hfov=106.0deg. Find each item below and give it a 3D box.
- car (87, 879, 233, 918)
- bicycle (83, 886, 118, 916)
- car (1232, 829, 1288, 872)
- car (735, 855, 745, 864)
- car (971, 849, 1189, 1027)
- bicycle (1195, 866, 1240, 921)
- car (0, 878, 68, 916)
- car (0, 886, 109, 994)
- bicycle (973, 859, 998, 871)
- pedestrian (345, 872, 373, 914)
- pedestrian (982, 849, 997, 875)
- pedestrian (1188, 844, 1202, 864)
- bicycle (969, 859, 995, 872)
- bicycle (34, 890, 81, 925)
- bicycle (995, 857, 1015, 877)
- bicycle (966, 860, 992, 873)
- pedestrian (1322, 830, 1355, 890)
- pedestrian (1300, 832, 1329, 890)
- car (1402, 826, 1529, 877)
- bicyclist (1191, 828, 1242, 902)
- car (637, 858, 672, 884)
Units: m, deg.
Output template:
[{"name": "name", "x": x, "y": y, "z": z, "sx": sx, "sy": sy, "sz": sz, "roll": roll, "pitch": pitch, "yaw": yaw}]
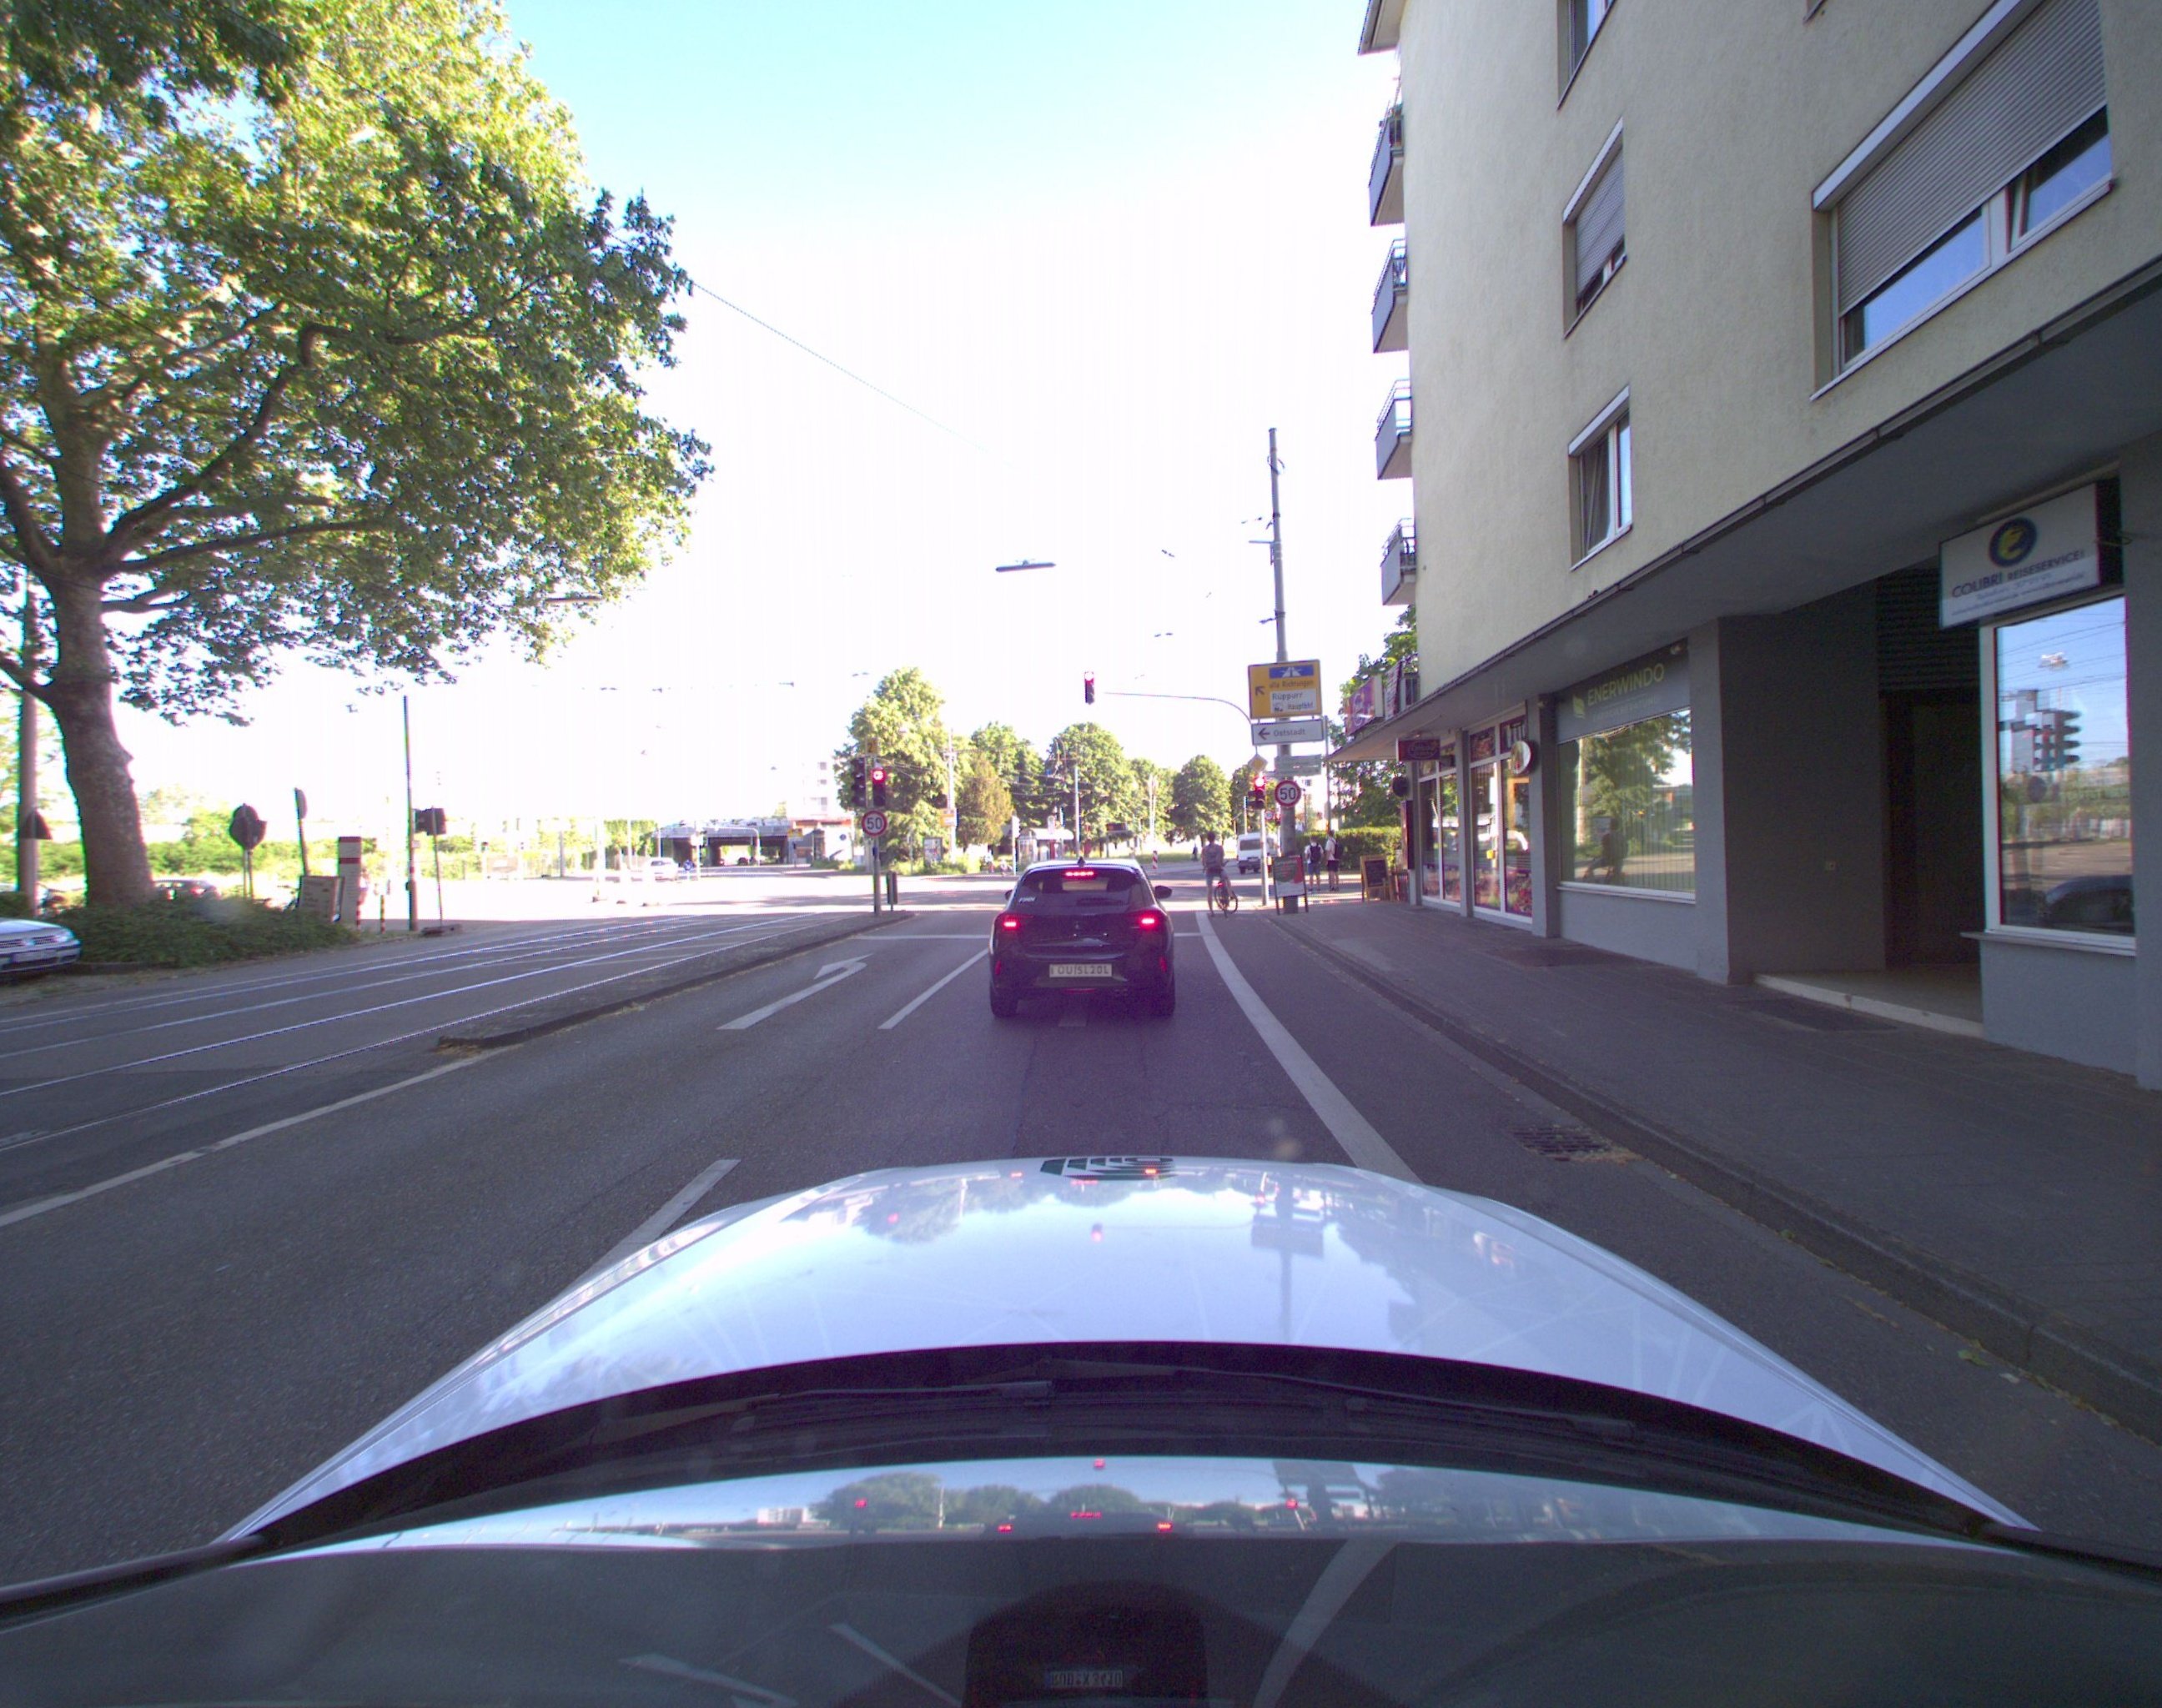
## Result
[{"name": "car", "x": -43.131, "y": 2.055, "z": 38.270, "sx": 4.006, "sy": 1.419, "sz": 1.880, "roll": -1, "pitch": 6, "yaw": -25}, {"name": "bicycle", "x": -26.280, "y": 1.253, "z": 21.822, "sx": 1.757, "sy": 0.759, "sz": 0.360, "roll": -1, "pitch": 0, "yaw": 32}, {"name": "car", "x": 10.143, "y": -0.175, "z": 45.934, "sx": 2.070, "sy": 2.277, "sz": 4.331, "roll": -1, "pitch": -1, "yaw": 26}, {"name": "car", "x": -77.404, "y": 1.336, "z": 184.616, "sx": 2.003, "sy": 2.014, "sz": 3.967, "roll": 0, "pitch": -1, "yaw": -25}, {"name": "car", "x": 0.105, "y": 0.697, "z": 8.819, "sx": 1.793, "sy": 1.441, "sz": 3.943, "roll": -2, "pitch": 0, "yaw": 3}, {"name": "bicycle", "x": 2.918, "y": 0.820, "z": 17.570, "sx": 0.665, "sy": 1.059, "sz": 2.083, "roll": -2, "pitch": 0, "yaw": 2}, {"name": "car", "x": -48.399, "y": 1.930, "z": 36.006, "sx": 4.006, "sy": 1.419, "sz": 1.880, "roll": -1, "pitch": 6, "yaw": -25}, {"name": "car", "x": -16.671, "y": 1.204, "z": 11.326, "sx": 3.980, "sy": 1.417, "sz": 1.701, "roll": 0, "pitch": -1, "yaw": -5}, {"name": "bicycle", "x": -7.748, "y": 0.927, "z": 66.037, "sx": 1.866, "sy": 0.906, "sz": 0.661, "roll": -2, "pitch": 0, "yaw": 8}, {"name": "pedestrian", "x": -27.697, "y": 1.480, "z": 31.235, "sx": 0.602, "sy": 1.596, "sz": 0.679, "roll": 0, "pitch": -1, "yaw": -24}, {"name": "pedestrian", "x": -6.023, "y": 0.523, "z": 53.859, "sx": 0.720, "sy": 1.693, "sz": 0.703, "roll": -2, "pitch": 0, "yaw": 15}, {"name": "pedestrian", "x": 10.621, "y": -0.035, "z": 75.701, "sx": 0.949, "sy": 1.793, "sz": 1.002, "roll": -2, "pitch": 0, "yaw": 27}, {"name": "bicycle", "x": -7.925, "y": 0.921, "z": 65.170, "sx": 1.866, "sy": 0.906, "sz": 0.661, "roll": -2, "pitch": 0, "yaw": 8}, {"name": "bicycle", "x": -25.048, "y": 1.289, "z": 19.944, "sx": 0.360, "sy": 0.759, "sz": 1.759, "roll": -2, "pitch": 0, "yaw": -40}, {"name": "bicycle", "x": -4.364, "y": 0.749, "z": 46.881, "sx": 0.821, "sy": 1.059, "sz": 1.885, "roll": -2, "pitch": 0, "yaw": 4}, {"name": "bicycle", "x": -8.051, "y": 0.974, "z": 64.187, "sx": 1.866, "sy": 0.906, "sz": 0.661, "roll": -2, "pitch": 0, "yaw": 8}, {"name": "pedestrian", "x": 8.064, "y": 0.185, "z": 25.480, "sx": 0.696, "sy": 1.846, "sz": 0.705, "roll": -2, "pitch": 0, "yaw": 41}, {"name": "pedestrian", "x": 7.283, "y": 0.218, "z": 25.431, "sx": 0.696, "sy": 1.792, "sz": 0.617, "roll": -2, "pitch": 0, "yaw": 1}, {"name": "car", "x": 15.111, "y": -0.061, "z": 32.210, "sx": 4.150, "sy": 1.814, "sz": 1.811, "roll": -2, "pitch": -3, "yaw": 10}, {"name": "bicyclist", "x": 2.912, "y": 0.228, "z": 17.613, "sx": 0.837, "sy": 1.510, "sz": 1.368, "roll": -2, "pitch": 0, "yaw": 0}, {"name": "car", "x": -29.537, "y": 1.128, "z": 56.463, "sx": 2.005, "sy": 1.631, "sz": 4.589, "roll": -2, "pitch": 1, "yaw": -28}]
